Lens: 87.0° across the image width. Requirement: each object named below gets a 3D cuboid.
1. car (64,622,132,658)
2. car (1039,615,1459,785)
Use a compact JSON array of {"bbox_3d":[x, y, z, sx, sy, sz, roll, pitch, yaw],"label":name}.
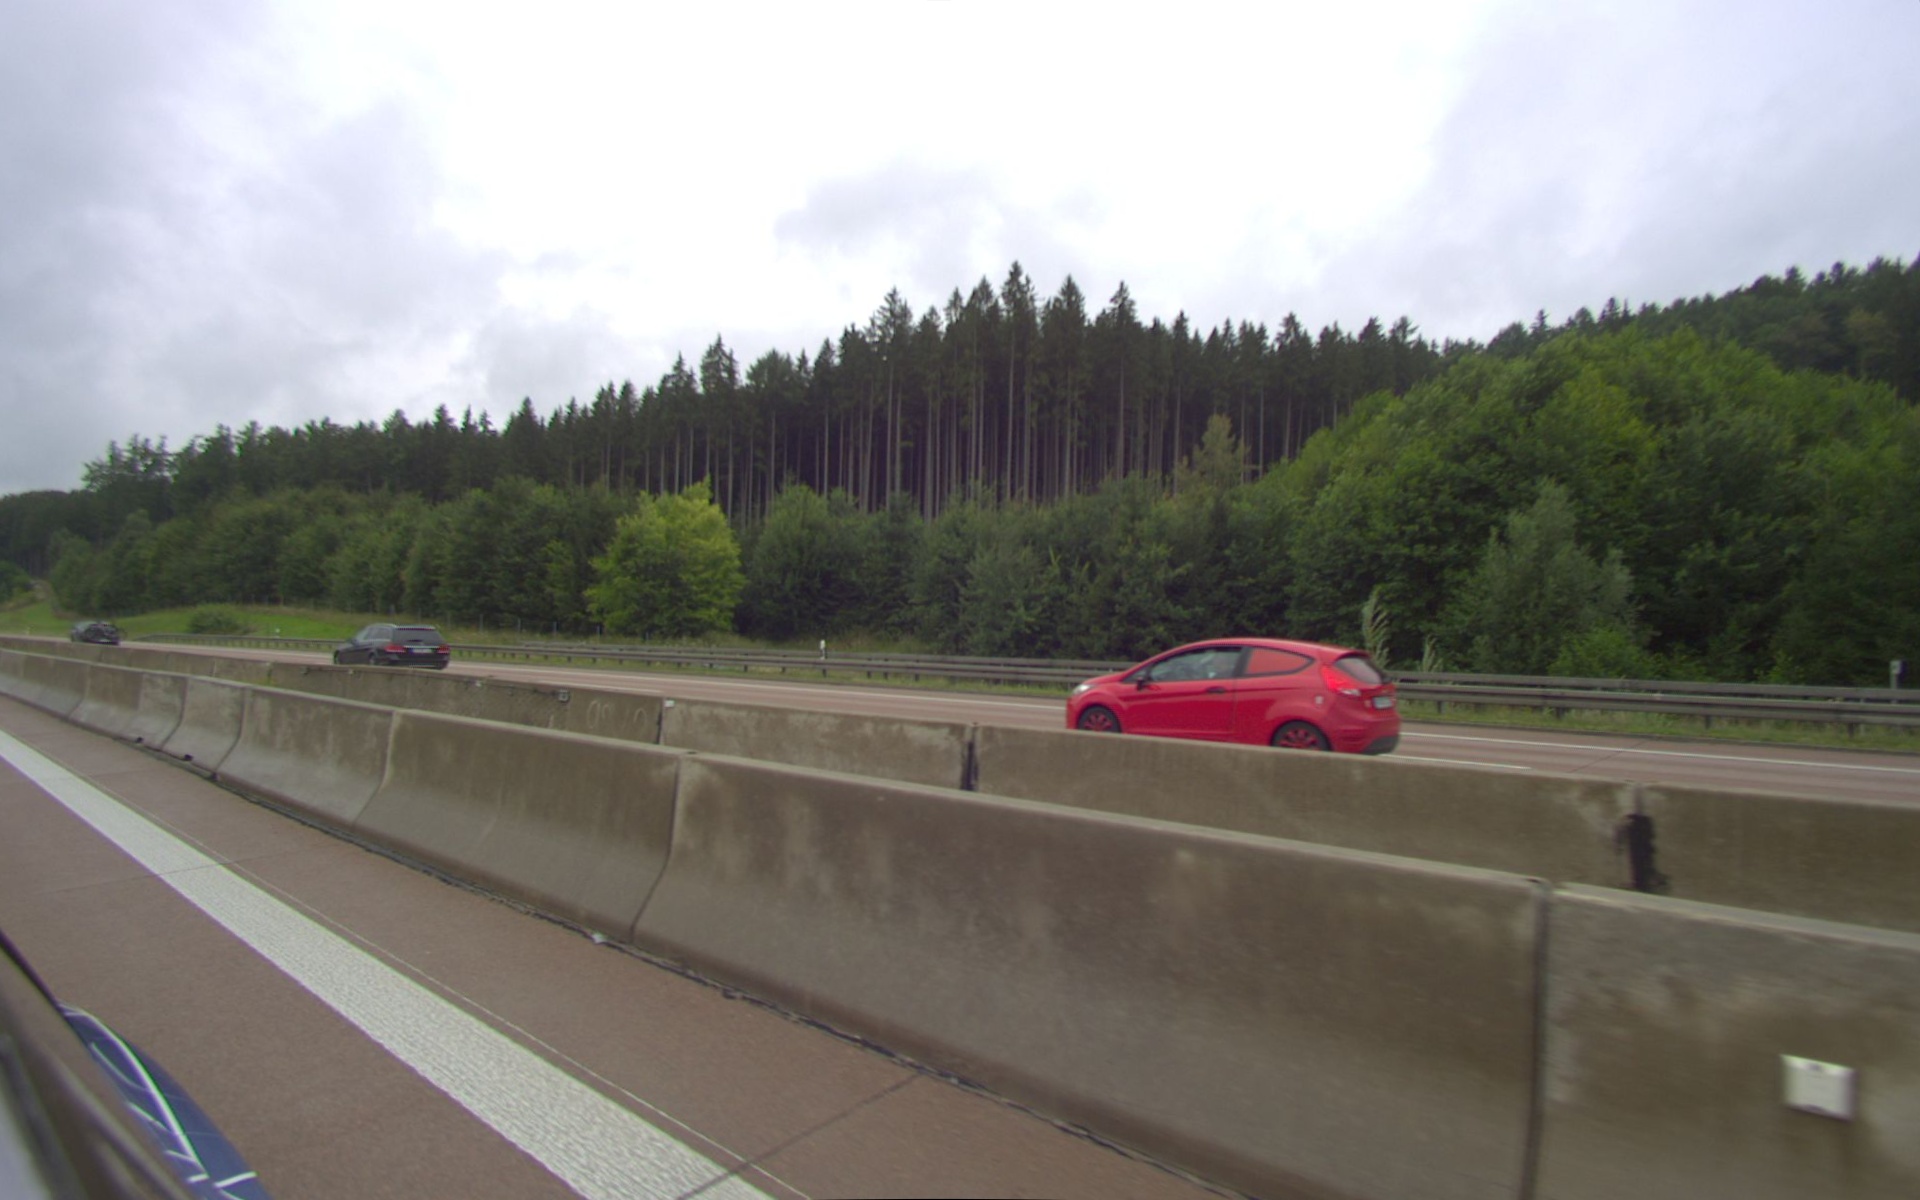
[{"bbox_3d":[-51.062,2.313,59.925,5.726,1.875,2.257,0,1,41],"label":"car"},{"bbox_3d":[3.231,1.016,11.789,4.278,1.557,1.972,0,-2,41],"label":"car"}]
